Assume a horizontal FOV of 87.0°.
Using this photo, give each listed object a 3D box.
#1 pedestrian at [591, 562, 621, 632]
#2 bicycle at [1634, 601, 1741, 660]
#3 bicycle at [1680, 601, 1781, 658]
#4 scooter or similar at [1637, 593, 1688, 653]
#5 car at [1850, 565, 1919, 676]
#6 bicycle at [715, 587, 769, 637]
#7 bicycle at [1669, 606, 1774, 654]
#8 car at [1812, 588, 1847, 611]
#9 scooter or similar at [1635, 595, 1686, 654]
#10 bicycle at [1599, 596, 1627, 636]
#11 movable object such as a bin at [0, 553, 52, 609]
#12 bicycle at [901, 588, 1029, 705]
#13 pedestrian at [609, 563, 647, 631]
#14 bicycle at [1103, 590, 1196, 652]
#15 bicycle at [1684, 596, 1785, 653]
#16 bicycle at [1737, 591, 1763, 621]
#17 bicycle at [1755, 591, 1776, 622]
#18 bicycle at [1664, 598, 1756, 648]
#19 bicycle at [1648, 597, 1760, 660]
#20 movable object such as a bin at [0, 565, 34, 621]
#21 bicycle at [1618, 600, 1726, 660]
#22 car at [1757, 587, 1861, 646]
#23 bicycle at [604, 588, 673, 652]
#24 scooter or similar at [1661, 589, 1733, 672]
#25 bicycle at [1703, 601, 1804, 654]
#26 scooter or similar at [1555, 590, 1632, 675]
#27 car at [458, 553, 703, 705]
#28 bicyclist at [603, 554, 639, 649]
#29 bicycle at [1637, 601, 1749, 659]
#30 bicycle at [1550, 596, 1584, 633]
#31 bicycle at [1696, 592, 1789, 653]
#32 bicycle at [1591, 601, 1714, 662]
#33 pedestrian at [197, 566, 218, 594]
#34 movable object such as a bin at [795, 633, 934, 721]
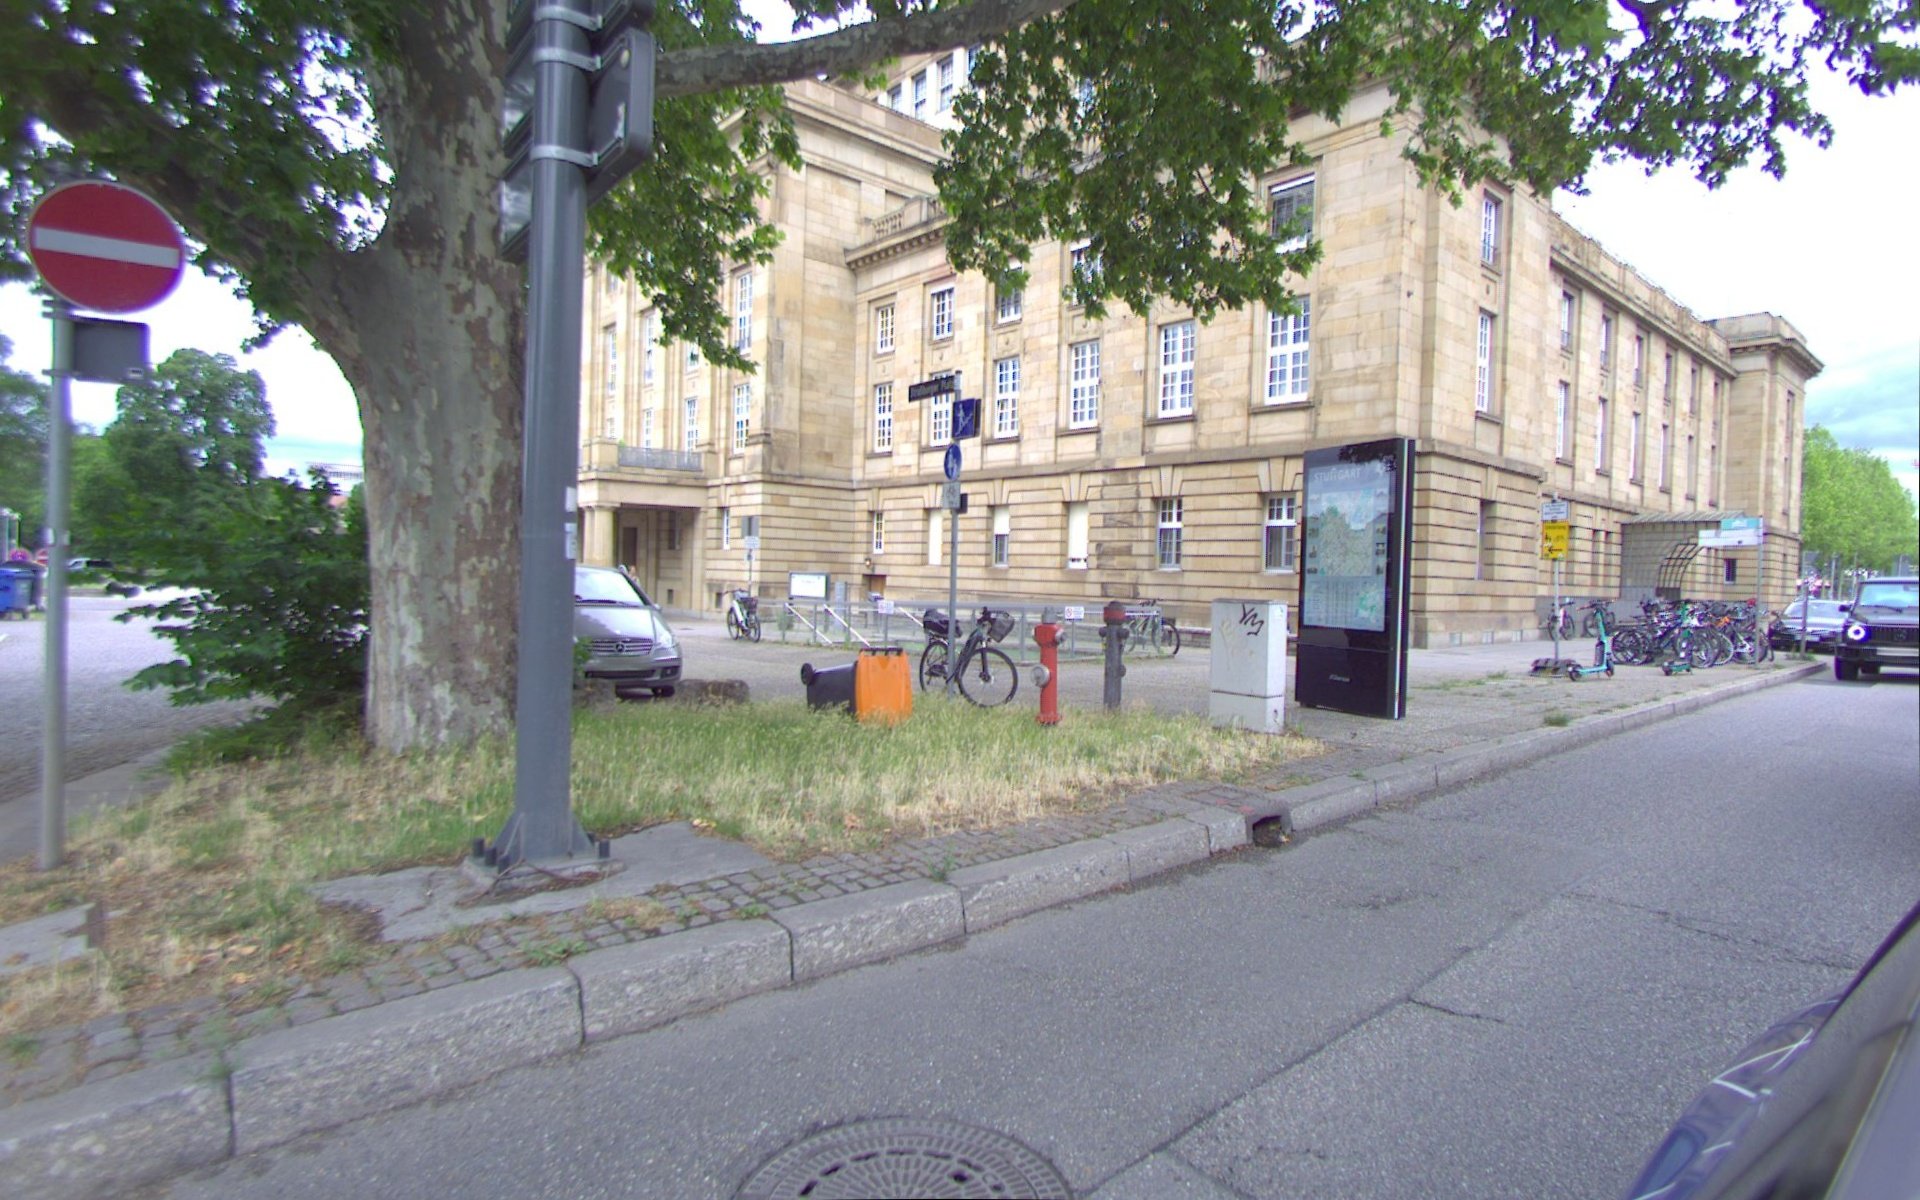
[{"bbox_3d":[-8.696,-0.079,24.840,0.559,1.716,0.430,1,1,-43],"label":"pedestrian"},{"bbox_3d":[14.359,0.575,20.025,0.373,1.105,1.736,0,0,-28],"label":"bicycle"},{"bbox_3d":[16.018,0.595,21.079,1.596,1.144,0.466,0,0,24],"label":"bicycle"},{"bbox_3d":[15.324,0.487,22.064,1.126,1.295,0.564,0,0,-36],"label":"scooter or similar"},{"bbox_3d":[18.536,0.365,19.187,4.323,1.950,1.951,0,1,-42],"label":"car"},{"bbox_3d":[-5.072,0.260,23.457,0.418,1.114,2.172,0,0,-35],"label":"bicycle"},{"bbox_3d":[16.511,0.628,21.995,0.601,0.928,1.737,0,1,-22],"label":"bicycle"},{"bbox_3d":[60.688,-0.053,70.613,3.446,1.549,1.581,0,1,-44],"label":"car"},{"bbox_3d":[15.240,0.510,22.017,1.286,1.239,0.427,-1,0,-31],"label":"scooter or similar"},{"bbox_3d":[20.123,0.485,31.158,1.510,1.197,0.276,0,0,-39],"label":"bicycle"},{"bbox_3d":[-26.017,-0.532,28.068,1.132,1.515,1.412,0,1,-39],"label":"movable object such as a bin"},{"bbox_3d":[0.023,0.495,11.830,0.483,1.236,1.790,0,1,-38],"label":"bicycle"},{"bbox_3d":[-8.614,-0.089,26.279,0.693,1.743,0.680,1,1,-43],"label":"pedestrian"},{"bbox_3d":[3.746,0.386,20.193,0.382,1.139,2.014,0,1,-41],"label":"bicycle"},{"bbox_3d":[15.981,0.483,20.903,1.596,1.144,0.405,0,0,24],"label":"bicycle"},{"bbox_3d":[33.914,0.256,43.438,1.883,1.232,0.556,0,1,-42],"label":"bicycle"},{"bbox_3d":[35.242,0.274,44.266,1.759,1.304,0.413,0,1,-42],"label":"bicycle"},{"bbox_3d":[16.301,0.483,22.034,0.427,1.041,1.570,0,0,-30],"label":"bicycle"},{"bbox_3d":[15.025,0.546,20.480,0.594,1.224,1.759,0,0,-44],"label":"bicycle"},{"bbox_3d":[-23.165,-0.190,24.404,1.132,1.320,1.412,0,1,-39],"label":"movable object such as a bin"},{"bbox_3d":[13.920,0.567,19.827,0.417,1.105,1.736,0,0,-28],"label":"bicycle"},{"bbox_3d":[23.990,0.443,28.543,4.254,1.504,1.790,1,1,-44],"label":"car"},{"bbox_3d":[-6.172,0.364,19.378,1.748,1.146,0.437,2,1,42],"label":"bicycle"},{"bbox_3d":[12.481,0.489,17.133,1.389,1.348,0.726,0,0,-42],"label":"scooter or similar"},{"bbox_3d":[17.400,0.591,22.227,0.573,1.087,1.671,0,1,-22],"label":"bicycle"},{"bbox_3d":[9.992,0.487,15.951,1.405,1.296,0.433,0,0,-30],"label":"scooter or similar"},{"bbox_3d":[-4.833,0.258,12.588,1.650,1.588,3.843,0,1,-40],"label":"car"},{"bbox_3d":[-6.438,0.022,19.233,0.436,1.770,0.468,2,1,41],"label":"bicyclist"},{"bbox_3d":[14.670,0.577,20.296,0.563,1.105,1.735,0,0,-32],"label":"bicycle"},{"bbox_3d":[16.936,0.389,28.230,1.929,1.010,0.240,-1,2,-42],"label":"bicycle"},{"bbox_3d":[17.022,0.464,22.059,0.532,1.272,1.550,0,0,-22],"label":"bicycle"},{"bbox_3d":[13.341,0.576,19.552,0.652,1.105,1.866,0,0,-28],"label":"bicycle"},{"bbox_3d":[-49.079,-1.305,66.035,0.539,1.828,0.940,-1,0,22],"label":"pedestrian"},{"bbox_3d":[-0.875,0.656,9.012,0.715,0.660,1.304,-1,0,-32],"label":"movable object such as a bin"}]
